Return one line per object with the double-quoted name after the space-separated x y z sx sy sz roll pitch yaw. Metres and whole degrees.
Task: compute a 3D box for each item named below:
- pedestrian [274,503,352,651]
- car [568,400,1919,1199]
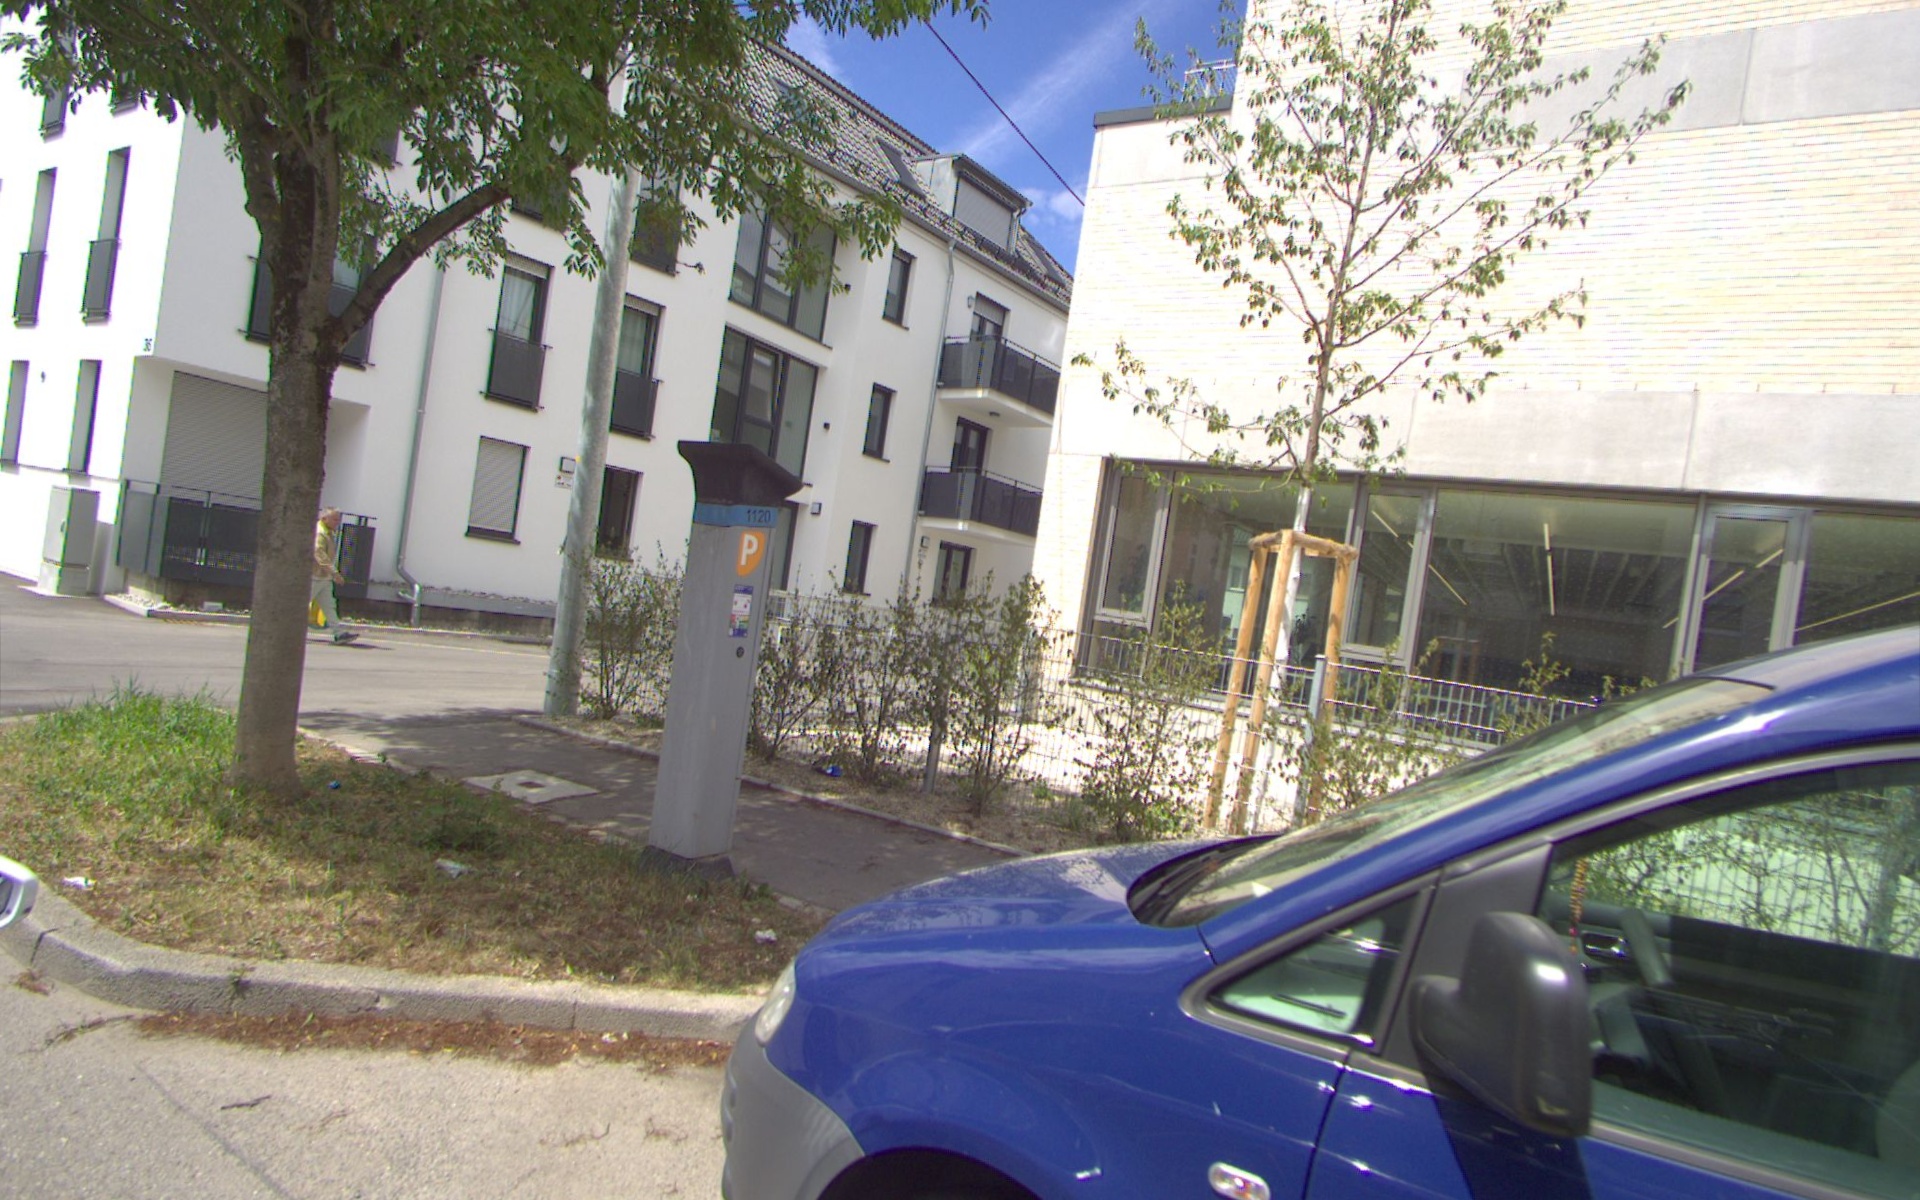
-7.777 -0.278 12.127 0.609 1.668 0.733 6 0 -30 "pedestrian"
1.671 0.823 1.531 4.440 1.788 1.848 6 -2 32 "car"
